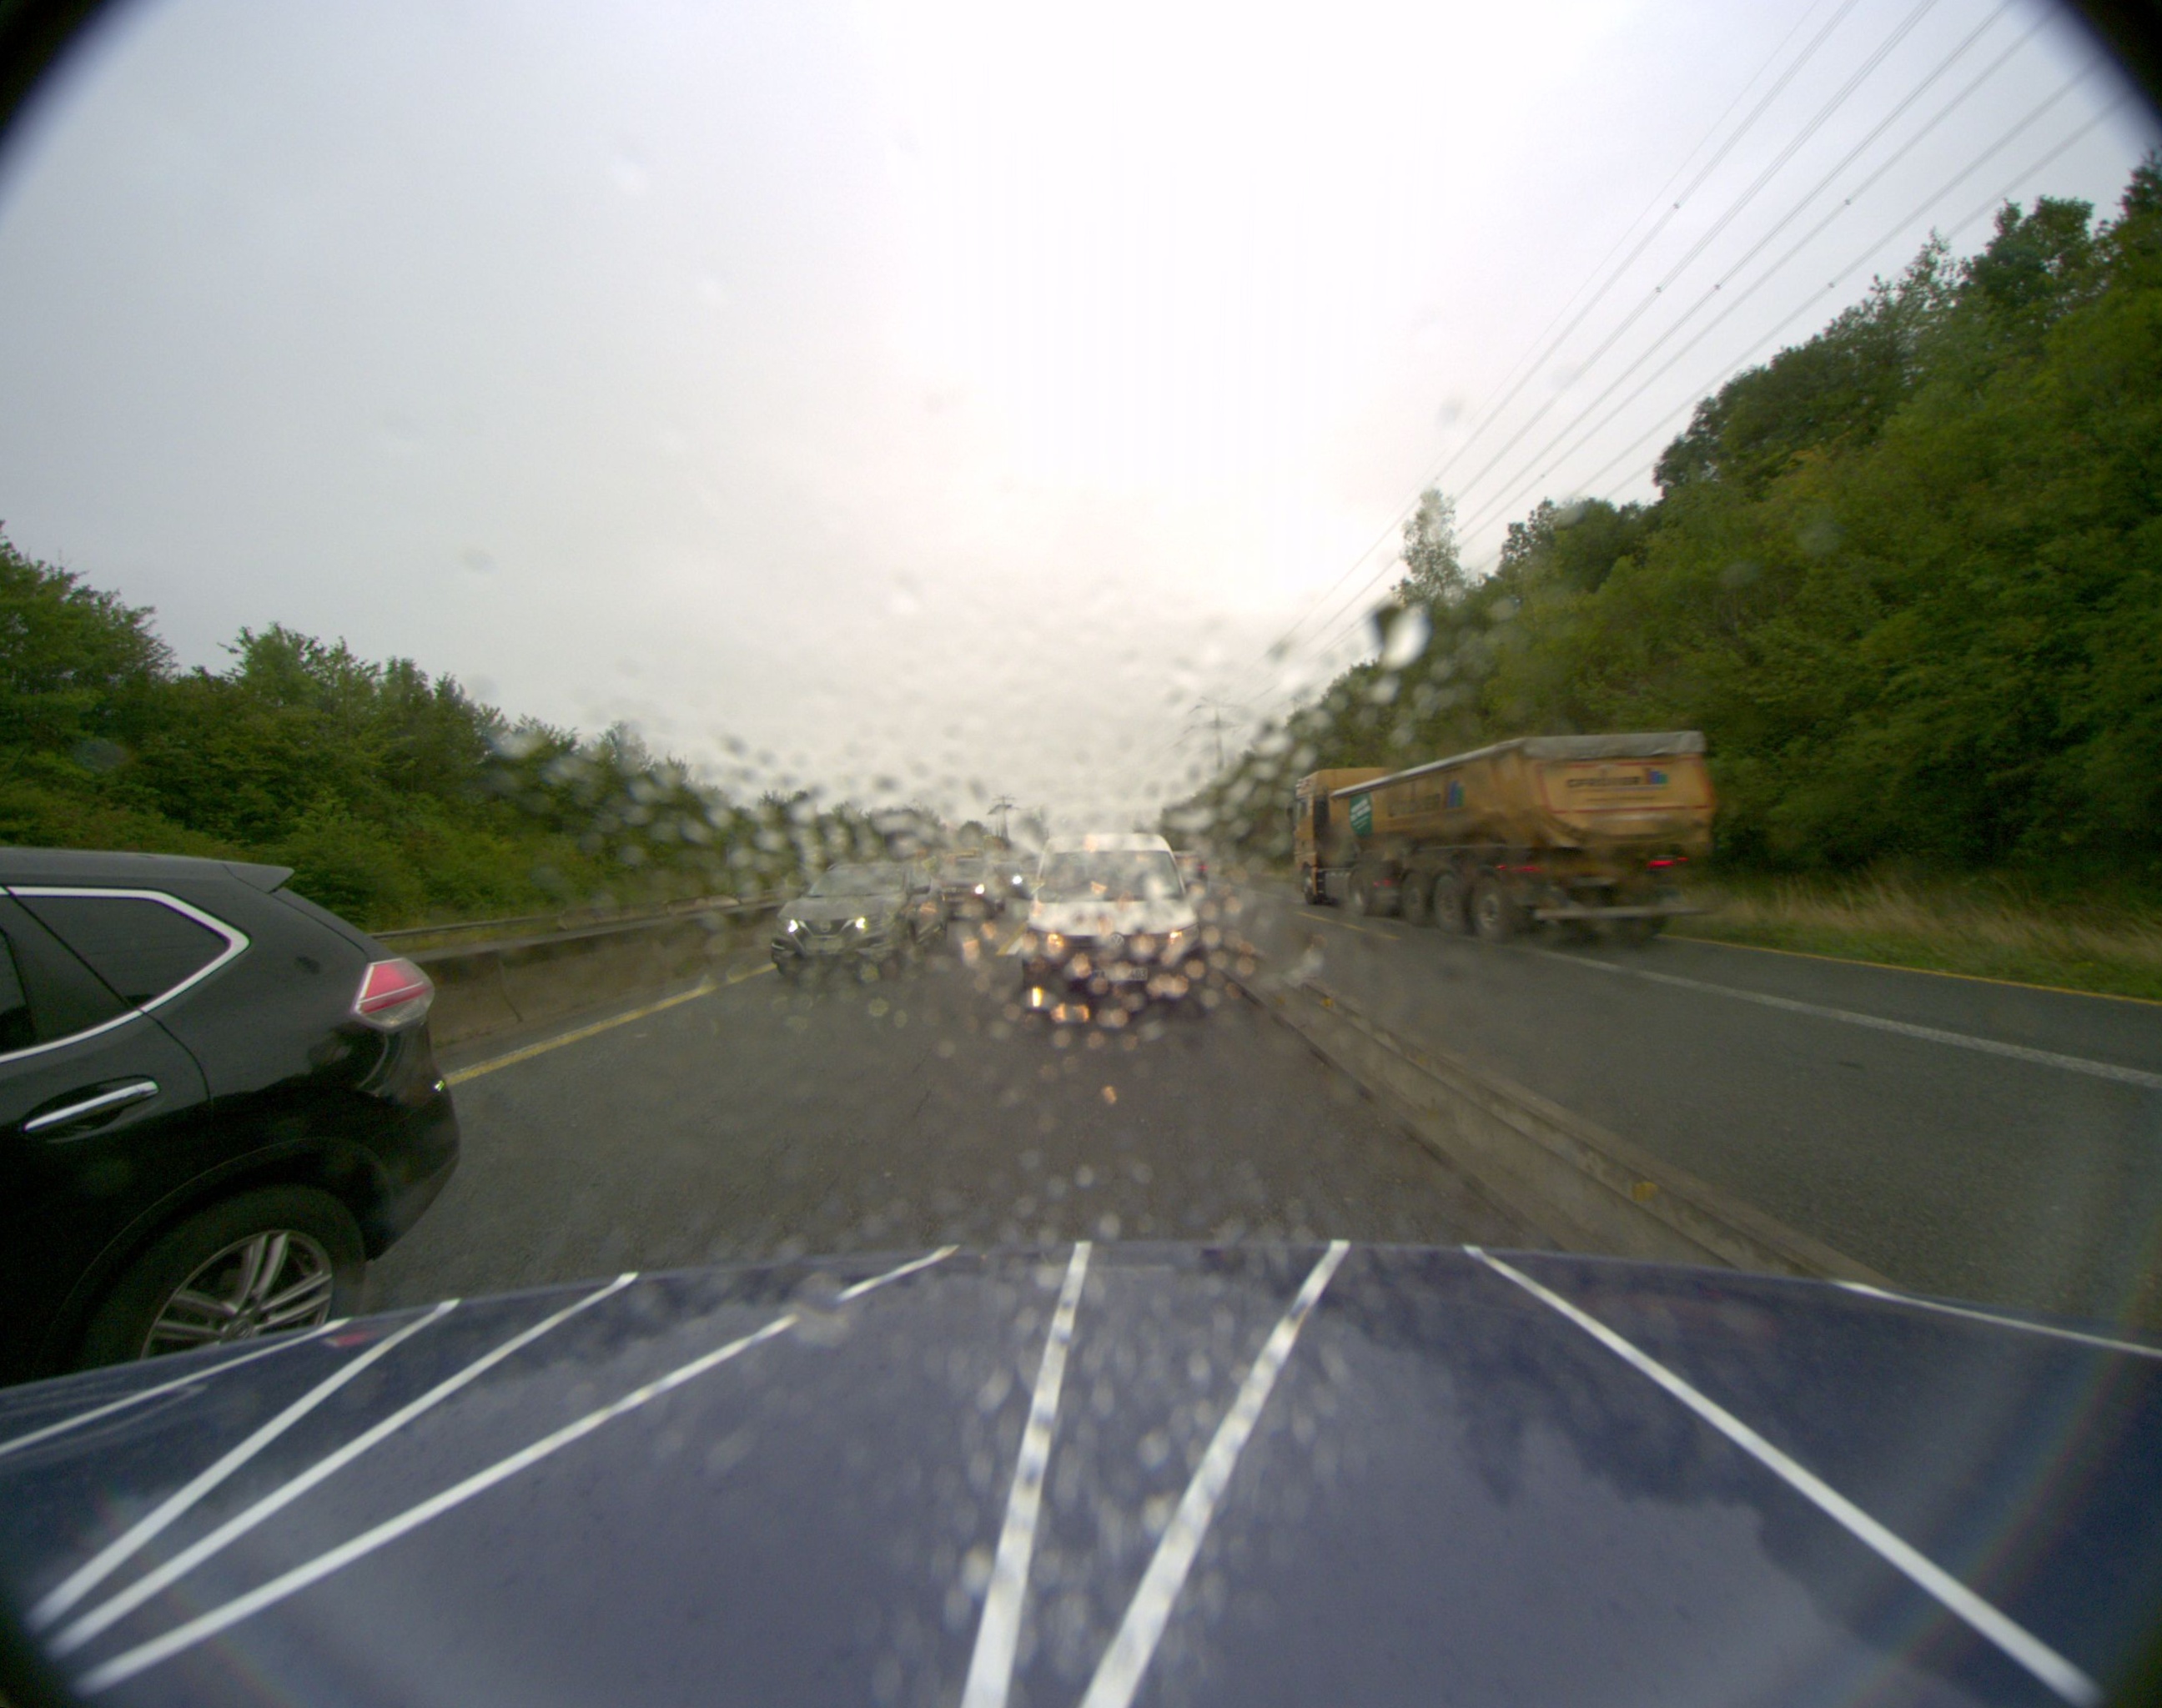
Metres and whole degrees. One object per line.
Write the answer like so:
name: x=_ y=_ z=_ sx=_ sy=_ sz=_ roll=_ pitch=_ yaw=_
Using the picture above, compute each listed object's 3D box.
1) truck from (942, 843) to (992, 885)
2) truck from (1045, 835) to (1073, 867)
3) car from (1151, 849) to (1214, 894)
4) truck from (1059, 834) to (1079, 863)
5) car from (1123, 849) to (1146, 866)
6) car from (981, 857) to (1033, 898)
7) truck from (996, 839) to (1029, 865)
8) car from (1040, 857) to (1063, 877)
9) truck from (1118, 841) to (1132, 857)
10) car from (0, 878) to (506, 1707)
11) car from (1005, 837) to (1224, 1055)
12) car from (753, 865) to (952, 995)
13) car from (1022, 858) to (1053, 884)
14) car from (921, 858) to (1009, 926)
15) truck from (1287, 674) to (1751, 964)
truck: x=-9.979 y=0.797 z=67.754 sx=2.619 sy=3.404 sz=9.575 roll=-2 pitch=1 yaw=2
truck: x=-2.466 y=-0.393 z=88.998 sx=2.619 sy=3.404 sz=9.575 roll=-2 pitch=1 yaw=1
car: x=3.915 y=0.633 z=29.989 sx=1.940 sy=1.598 sz=4.119 roll=-2 pitch=1 yaw=1
truck: x=-1.692 y=-0.844 z=110.347 sx=2.619 sy=3.869 sz=9.574 roll=-2 pitch=1 yaw=0
car: x=5.044 y=0.291 z=71.999 sx=1.784 sy=1.435 sz=4.327 roll=-2 pitch=1 yaw=0
car: x=-3.047 y=0.943 z=32.019 sx=1.784 sy=1.482 sz=4.123 roll=-2 pitch=1 yaw=0
truck: x=-9.619 y=-0.282 z=107.361 sx=3.329 sy=3.404 sz=9.575 roll=-2 pitch=1 yaw=2
car: x=-2.439 y=1.045 z=64.042 sx=1.784 sy=1.482 sz=4.123 roll=-2 pitch=1 yaw=0
truck: x=9.645 y=-1.163 z=167.161 sx=2.541 sy=3.333 sz=12.048 roll=-2 pitch=1 yaw=1
car: x=-3.160 y=0.981 z=0.559 sx=1.894 sy=1.665 sz=4.640 roll=-2 pitch=1 yaw=0
car: x=0.266 y=0.750 z=8.739 sx=1.784 sy=1.775 sz=4.697 roll=-2 pitch=1 yaw=0
car: x=-3.244 y=0.995 z=11.695 sx=1.784 sy=1.482 sz=4.123 roll=-2 pitch=1 yaw=0
car: x=-2.792 y=1.057 z=49.358 sx=1.784 sy=1.482 sz=4.123 roll=-2 pitch=1 yaw=0
car: x=-3.096 y=0.959 z=21.043 sx=1.784 sy=1.589 sz=4.123 roll=-2 pitch=1 yaw=0
truck: x=7.316 y=-0.514 z=15.928 sx=2.688 sy=3.635 sz=12.310 roll=-2 pitch=1 yaw=1
